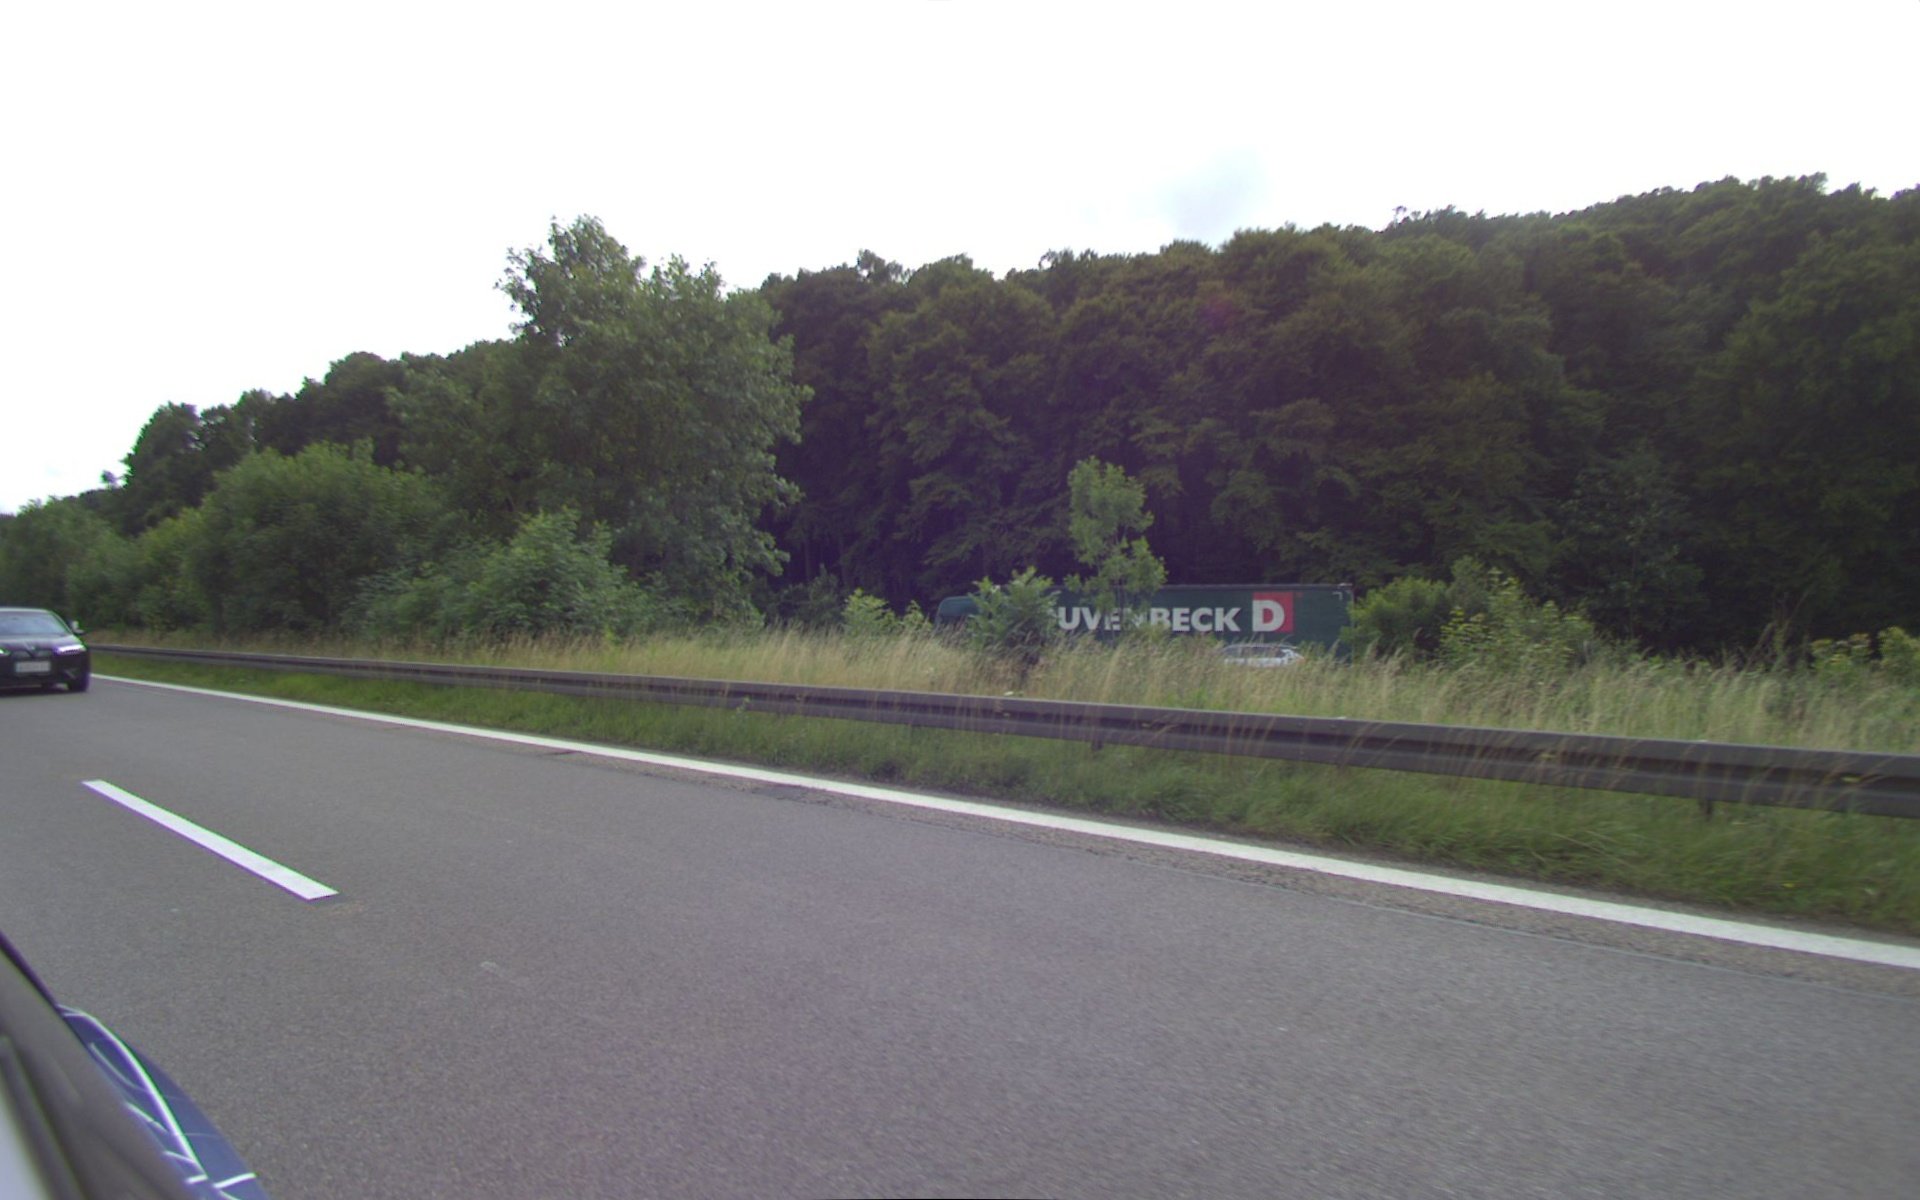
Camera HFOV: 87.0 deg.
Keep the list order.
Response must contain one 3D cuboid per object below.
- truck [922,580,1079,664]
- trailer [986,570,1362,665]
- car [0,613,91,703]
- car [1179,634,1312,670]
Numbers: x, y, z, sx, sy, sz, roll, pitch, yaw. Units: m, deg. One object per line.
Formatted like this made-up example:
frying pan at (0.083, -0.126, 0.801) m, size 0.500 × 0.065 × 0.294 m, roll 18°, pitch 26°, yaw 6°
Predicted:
truck at (1.698, 0.920, 41.737) m, size 5.698 × 3.244 × 3.135 m, roll -2°, pitch -1°, yaw 25°
trailer at (7.939, 0.759, 38.798) m, size 13.735 × 3.244 × 3.135 m, roll -2°, pitch -1°, yaw 25°
car at (-19.405, 1.122, 20.570) m, size 4.411 × 1.678 × 1.973 m, roll -1°, pitch -1°, yaw 40°
car at (9.314, 1.669, 33.003) m, size 3.975 × 1.031 × 1.885 m, roll -1°, pitch 0°, yaw 24°
